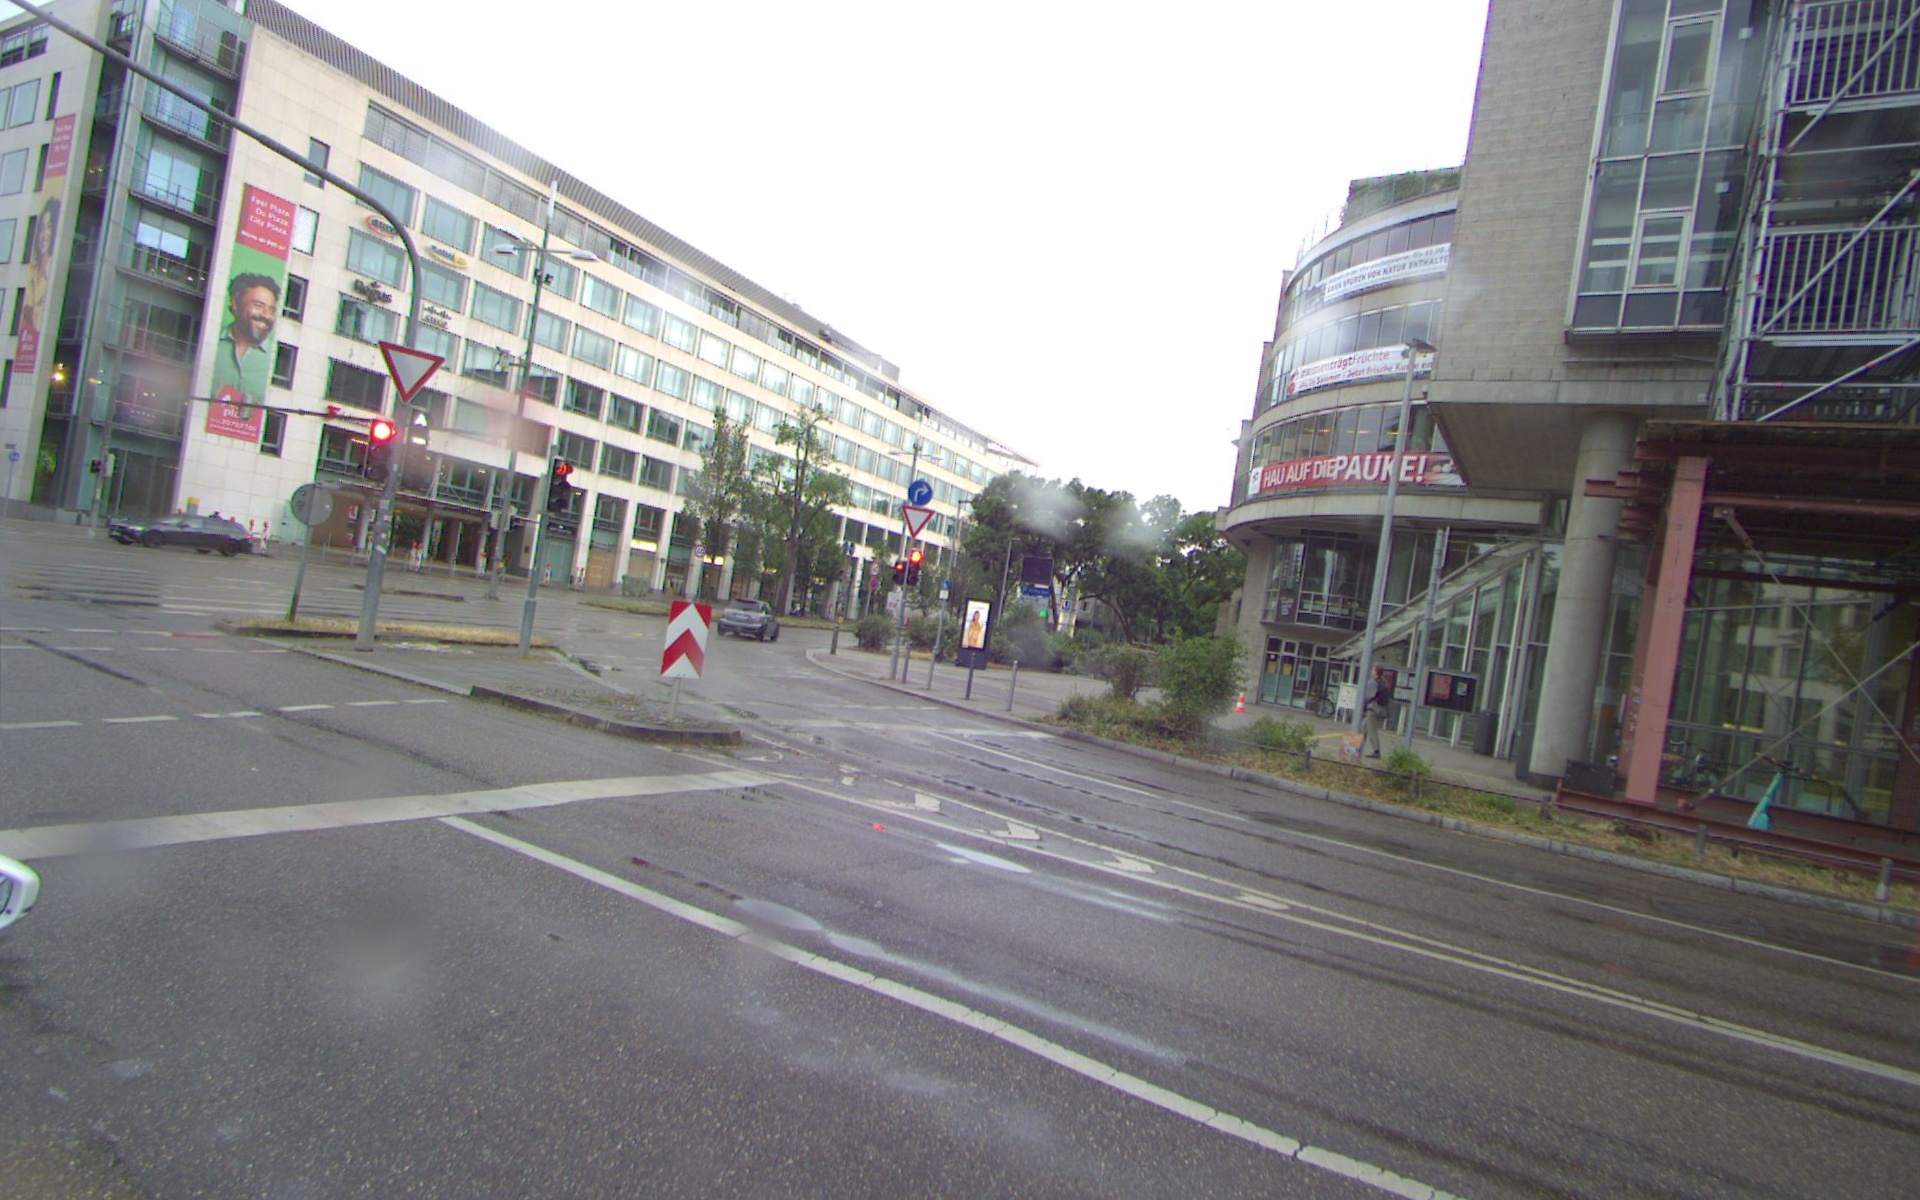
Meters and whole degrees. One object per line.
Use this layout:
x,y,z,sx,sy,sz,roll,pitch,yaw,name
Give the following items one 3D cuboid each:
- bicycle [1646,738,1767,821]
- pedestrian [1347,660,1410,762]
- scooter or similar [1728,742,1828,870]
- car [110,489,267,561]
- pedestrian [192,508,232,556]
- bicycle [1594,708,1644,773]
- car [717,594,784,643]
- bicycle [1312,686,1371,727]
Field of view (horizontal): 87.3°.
13.500,3.231,18.224,1.584,1.208,0.587,7,-1,6,bicycle
7.888,2.072,18.995,0.776,1.796,0.781,7,-1,13,pedestrian
9.237,2.275,11.413,0.577,1.208,1.780,7,-1,34,scooter or similar
-30.325,-2.897,39.722,1.520,2.036,4.672,7,-2,19,car
-32.141,-2.919,43.238,0.822,1.838,0.963,6,-1,31,pedestrian
13.686,2.896,20.936,0.576,1.208,1.614,7,-2,27,bicycle
-7.579,0.708,36.766,1.714,1.472,3.722,7,-2,-3,car
13.469,3.754,35.526,1.753,1.208,0.586,6,-1,29,bicycle
